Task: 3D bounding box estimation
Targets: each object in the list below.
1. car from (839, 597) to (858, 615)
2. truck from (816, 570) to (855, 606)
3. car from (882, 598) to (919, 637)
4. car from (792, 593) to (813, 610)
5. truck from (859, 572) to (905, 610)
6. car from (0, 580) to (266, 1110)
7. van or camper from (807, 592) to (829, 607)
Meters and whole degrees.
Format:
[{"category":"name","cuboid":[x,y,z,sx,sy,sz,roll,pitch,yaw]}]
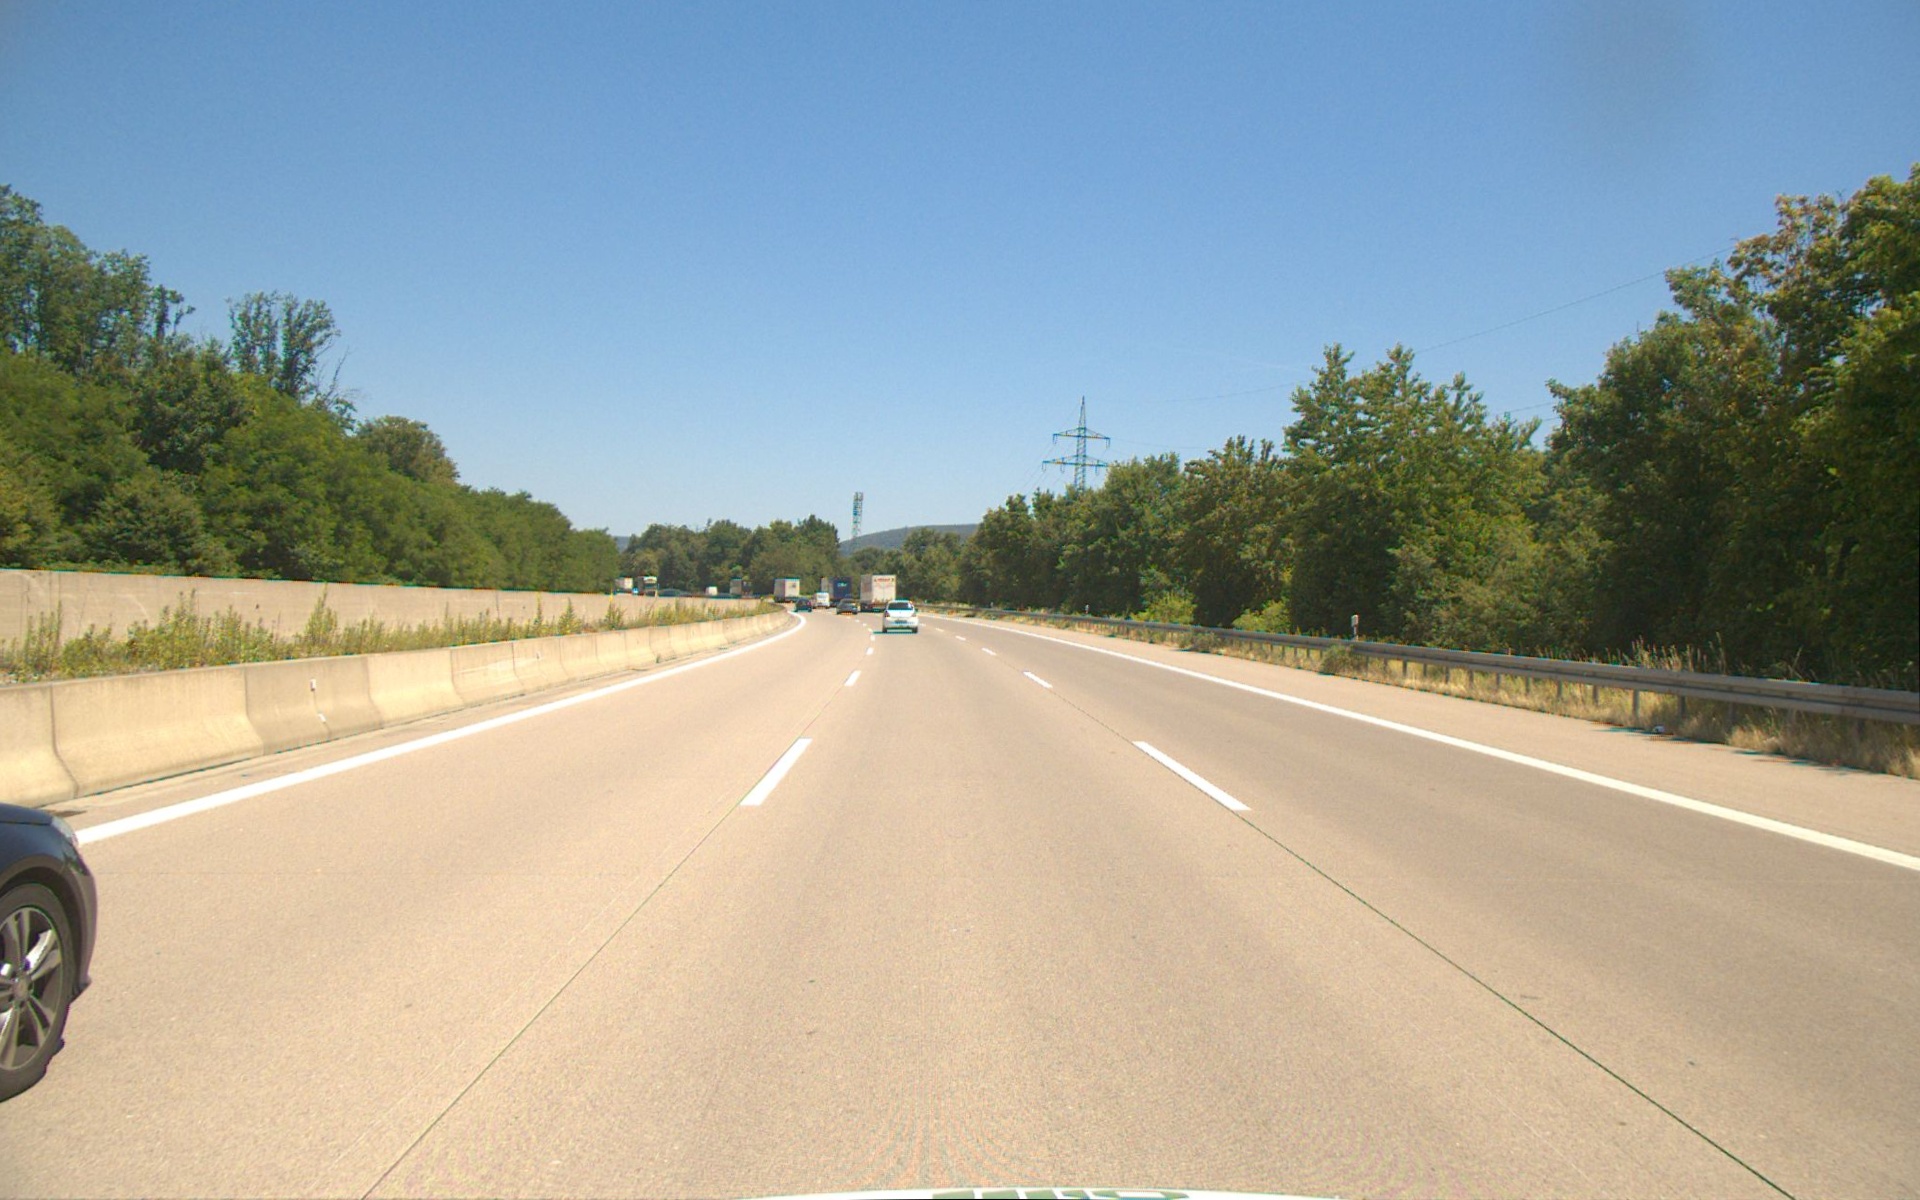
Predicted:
[{"category":"car","cuboid":[-10.824,0.596,159.835,1.580,1.755,3.567,0,0,-8]},{"category":"truck","cuboid":[-17.432,-1.604,230.310,3.837,4.824,14.012,0,0,-11]},{"category":"car","cuboid":[-2.860,0.833,79.354,1.609,1.690,3.358,4,0,-2]},{"category":"car","cuboid":[-17.377,0.162,182.617,1.982,1.730,3.998,5,0,-2]},{"category":"truck","cuboid":[-8.617,-0.947,180.321,3.748,3.957,14.127,0,0,-8]},{"category":"car","cuboid":[-3.615,0.694,3.721,1.852,1.499,5.602,0,0,-1]},{"category":"van or camper","cuboid":[-18.136,-0.051,211.459,1.839,1.870,3.977,0,0,-20]}]
